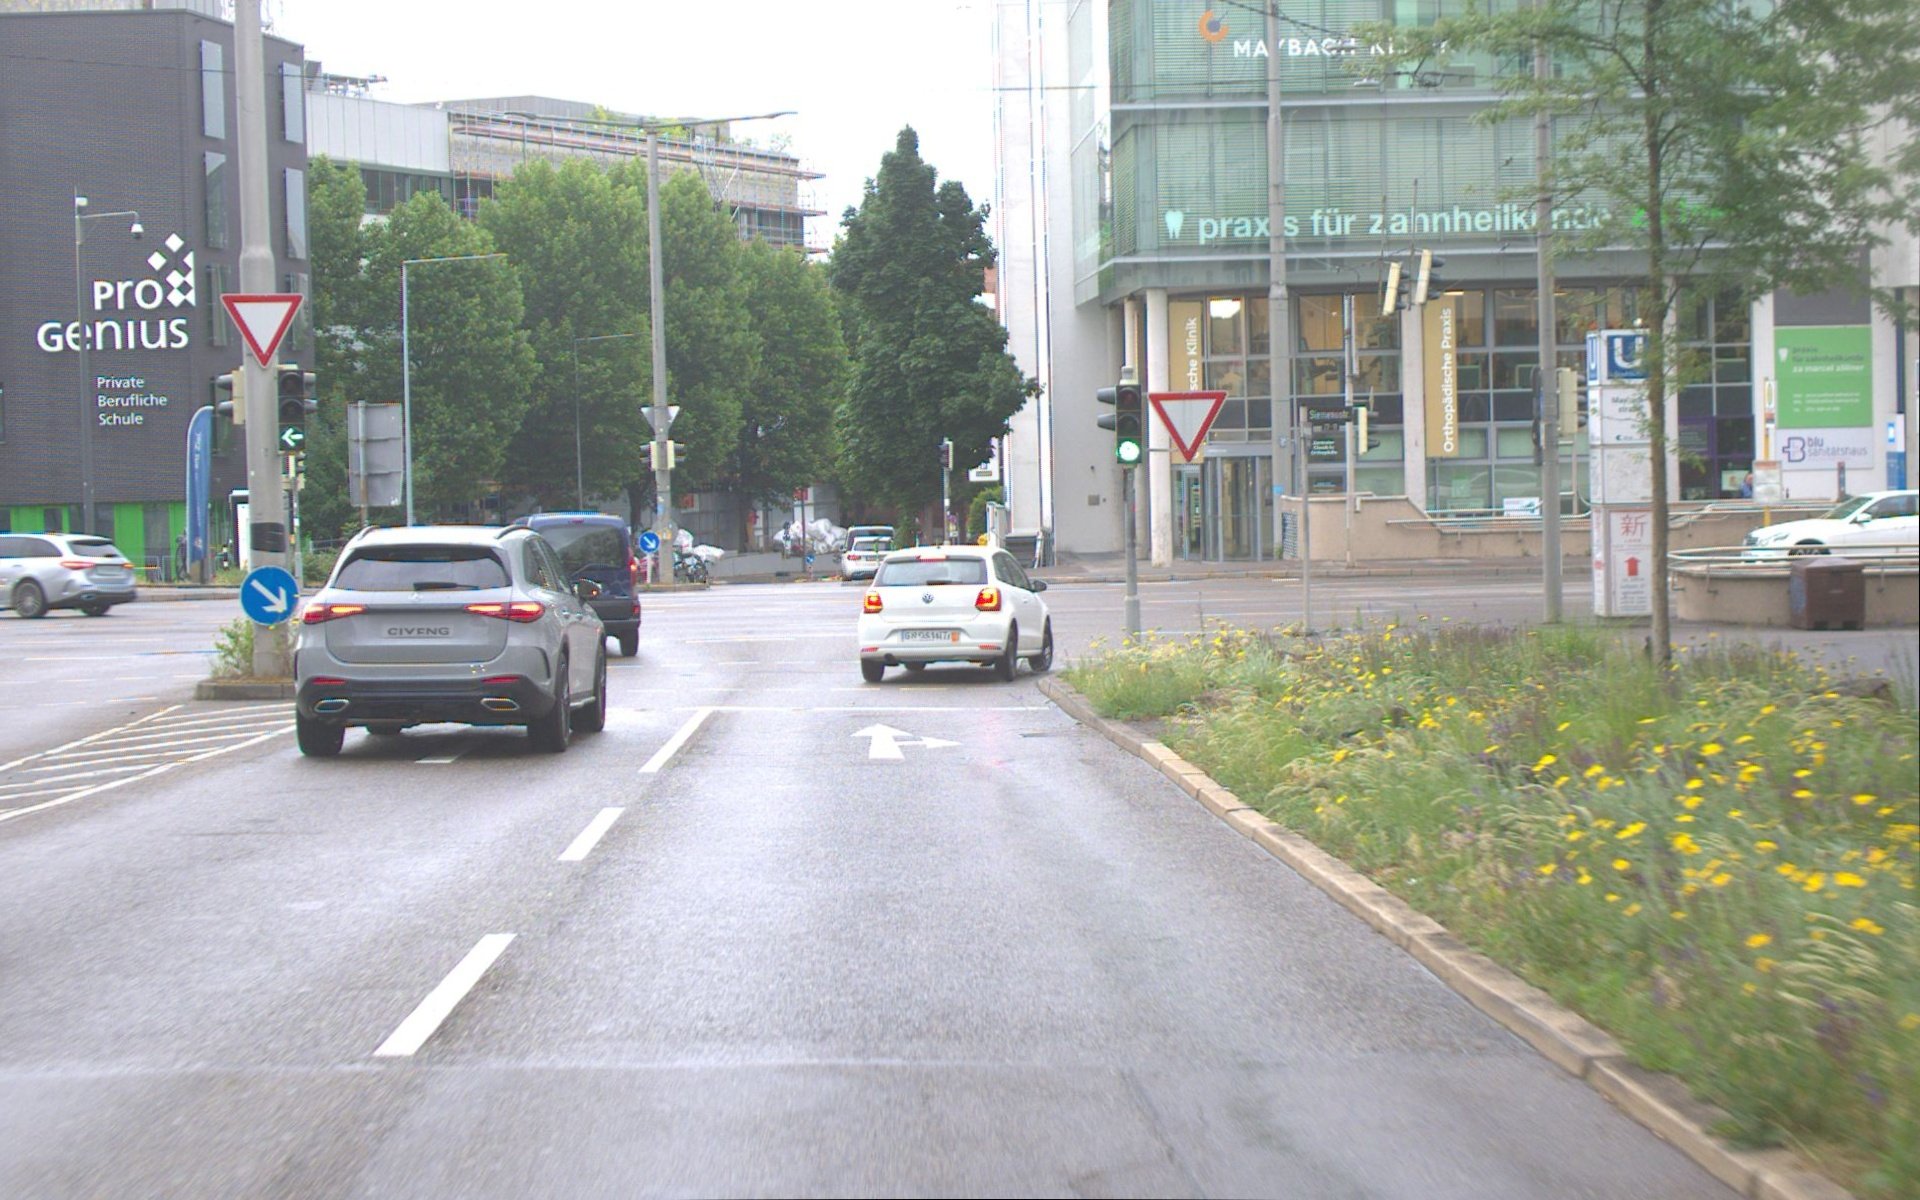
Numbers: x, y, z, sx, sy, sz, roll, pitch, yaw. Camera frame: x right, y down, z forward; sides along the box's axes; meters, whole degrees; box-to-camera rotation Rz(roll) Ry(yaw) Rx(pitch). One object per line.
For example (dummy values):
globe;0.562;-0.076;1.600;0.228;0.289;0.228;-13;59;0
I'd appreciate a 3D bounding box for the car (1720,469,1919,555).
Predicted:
car;15.667;-1.526;58.711;4.946;1.382;1.824;-1;2;-3

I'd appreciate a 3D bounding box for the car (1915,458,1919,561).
car;16.717;-1.384;51.836;3.986;1.568;2.001;-1;3;-10

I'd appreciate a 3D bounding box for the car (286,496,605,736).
car;-3.737;0.074;25.640;1.908;1.626;4.211;1;1;-3

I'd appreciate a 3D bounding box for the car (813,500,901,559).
car;-3.136;-2.113;103.873;1.993;1.711;4.001;1;1;-11

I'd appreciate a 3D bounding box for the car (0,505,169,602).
car;-15.965;-0.826;58.743;4.483;1.573;1.997;2;1;26

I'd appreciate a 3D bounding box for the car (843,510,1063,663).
car;-0.021;-0.184;38.037;1.672;1.468;3.778;0;3;12

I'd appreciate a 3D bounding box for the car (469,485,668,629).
car;-5.156;-0.589;44.804;1.852;1.762;4.132;-1;2;-17
